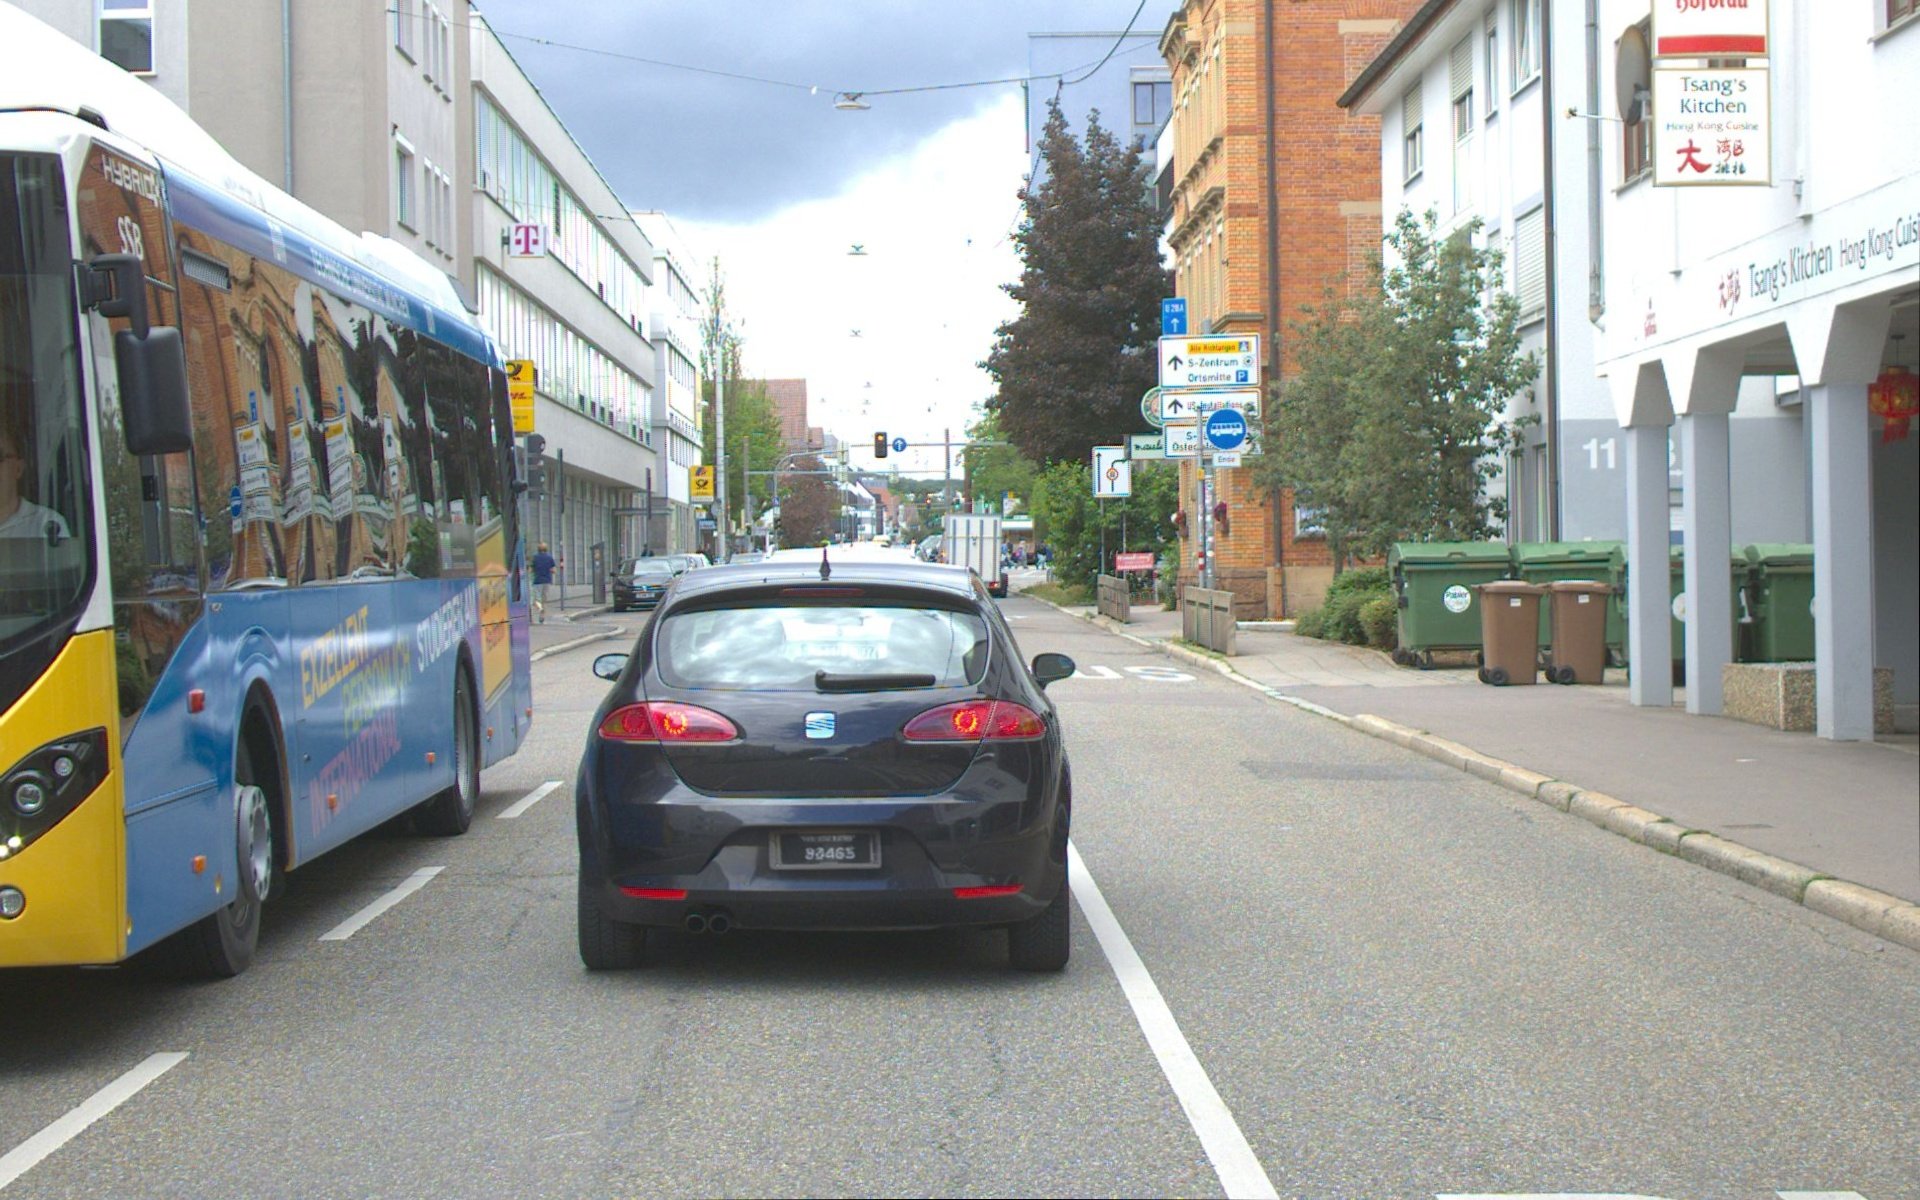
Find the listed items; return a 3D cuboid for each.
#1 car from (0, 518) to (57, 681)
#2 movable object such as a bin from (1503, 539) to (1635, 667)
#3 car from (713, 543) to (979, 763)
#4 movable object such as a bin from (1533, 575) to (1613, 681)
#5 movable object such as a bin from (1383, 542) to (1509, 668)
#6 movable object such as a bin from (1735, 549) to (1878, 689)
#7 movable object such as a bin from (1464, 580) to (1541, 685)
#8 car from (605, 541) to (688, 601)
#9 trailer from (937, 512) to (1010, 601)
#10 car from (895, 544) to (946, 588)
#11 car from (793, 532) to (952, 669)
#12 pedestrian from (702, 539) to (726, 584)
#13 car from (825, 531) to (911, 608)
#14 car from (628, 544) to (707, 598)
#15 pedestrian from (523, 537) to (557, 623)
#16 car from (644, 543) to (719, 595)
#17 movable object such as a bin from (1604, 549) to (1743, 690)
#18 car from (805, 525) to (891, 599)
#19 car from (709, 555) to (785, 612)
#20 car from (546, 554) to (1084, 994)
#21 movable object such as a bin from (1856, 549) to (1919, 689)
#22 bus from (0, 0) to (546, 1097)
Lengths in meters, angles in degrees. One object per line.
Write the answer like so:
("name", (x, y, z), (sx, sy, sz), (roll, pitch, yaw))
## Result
("car", (-11.784, 0.015, 36.017), (4.163, 1.662, 1.724), (-1, 0, 3))
("movable object such as a bin", (6.935, 0.026, 39.232), (1.267, 1.430, 1.307), (0, 1, 0))
("car", (-0.828, 0.335, 25.351), (1.803, 1.487, 3.738), (0, 1, -2))
("movable object such as a bin", (6.343, 0.284, 35.580), (0.698, 1.075, 0.971), (0, 1, 3))
("movable object such as a bin", (5.577, 0.047, 39.521), (1.267, 1.412, 1.162), (0, 1, 0))
("movable object such as a bin", (8.661, 0.183, 35.229), (1.209, 1.412, 1.259), (0, 1, 3))
("movable object such as a bin", (5.613, 0.331, 35.602), (0.683, 1.063, 0.971), (0, 1, 3))
("car", (-8.357, -0.788, 91.973), (1.912, 1.511, 4.175), (-1, 1, -2))
("trailer", (0.384, -1.325, 103.602), (1.993, 2.598, 5.350), (0, 1, -2))
("car", (-1.495, -1.292, 128.506), (1.803, 1.596, 3.738), (1, 1, -2))
("car", (-1.051, -0.024, 41.058), (1.803, 1.547, 3.738), (0, 1, -2))
("pedestrian", (-10.106, -1.578, 141.331), (0.918, 1.862, 0.783), (0, 1, -1))
("car", (-1.985, -0.658, 74.193), (1.803, 1.596, 3.738), (1, 1, -2))
("car", (-8.292, -0.837, 97.765), (1.993, 1.511, 4.175), (0, 1, -2))
("pedestrian", (-8.669, -0.411, 70.984), (0.642, 1.763, 0.810), (0, 1, -4))
("car", (-8.359, -0.951, 103.440), (1.993, 1.511, 4.175), (0, 1, -2))
("movable object such as a bin", (7.298, 0.188, 35.236), (1.209, 1.412, 1.259), (0, 1, 3))
("car", (-2.405, -0.826, 74.104), (1.803, 1.547, 3.738), (0, 1, -2))
("car", (-5.910, -0.469, 95.587), (1.878, 1.446, 4.214), (-3, 1, -1))
("car", (-0.507, 0.548, 13.236), (1.765, 1.428, 3.828), (0, 1, -1))
("movable object such as a bin", (9.919, 0.181, 35.202), (1.209, 1.412, 1.259), (0, 1, 3))
("bus", (-4.004, -0.297, 15.689), (2.942, 3.262, 12.009), (-2, 1, -1))
